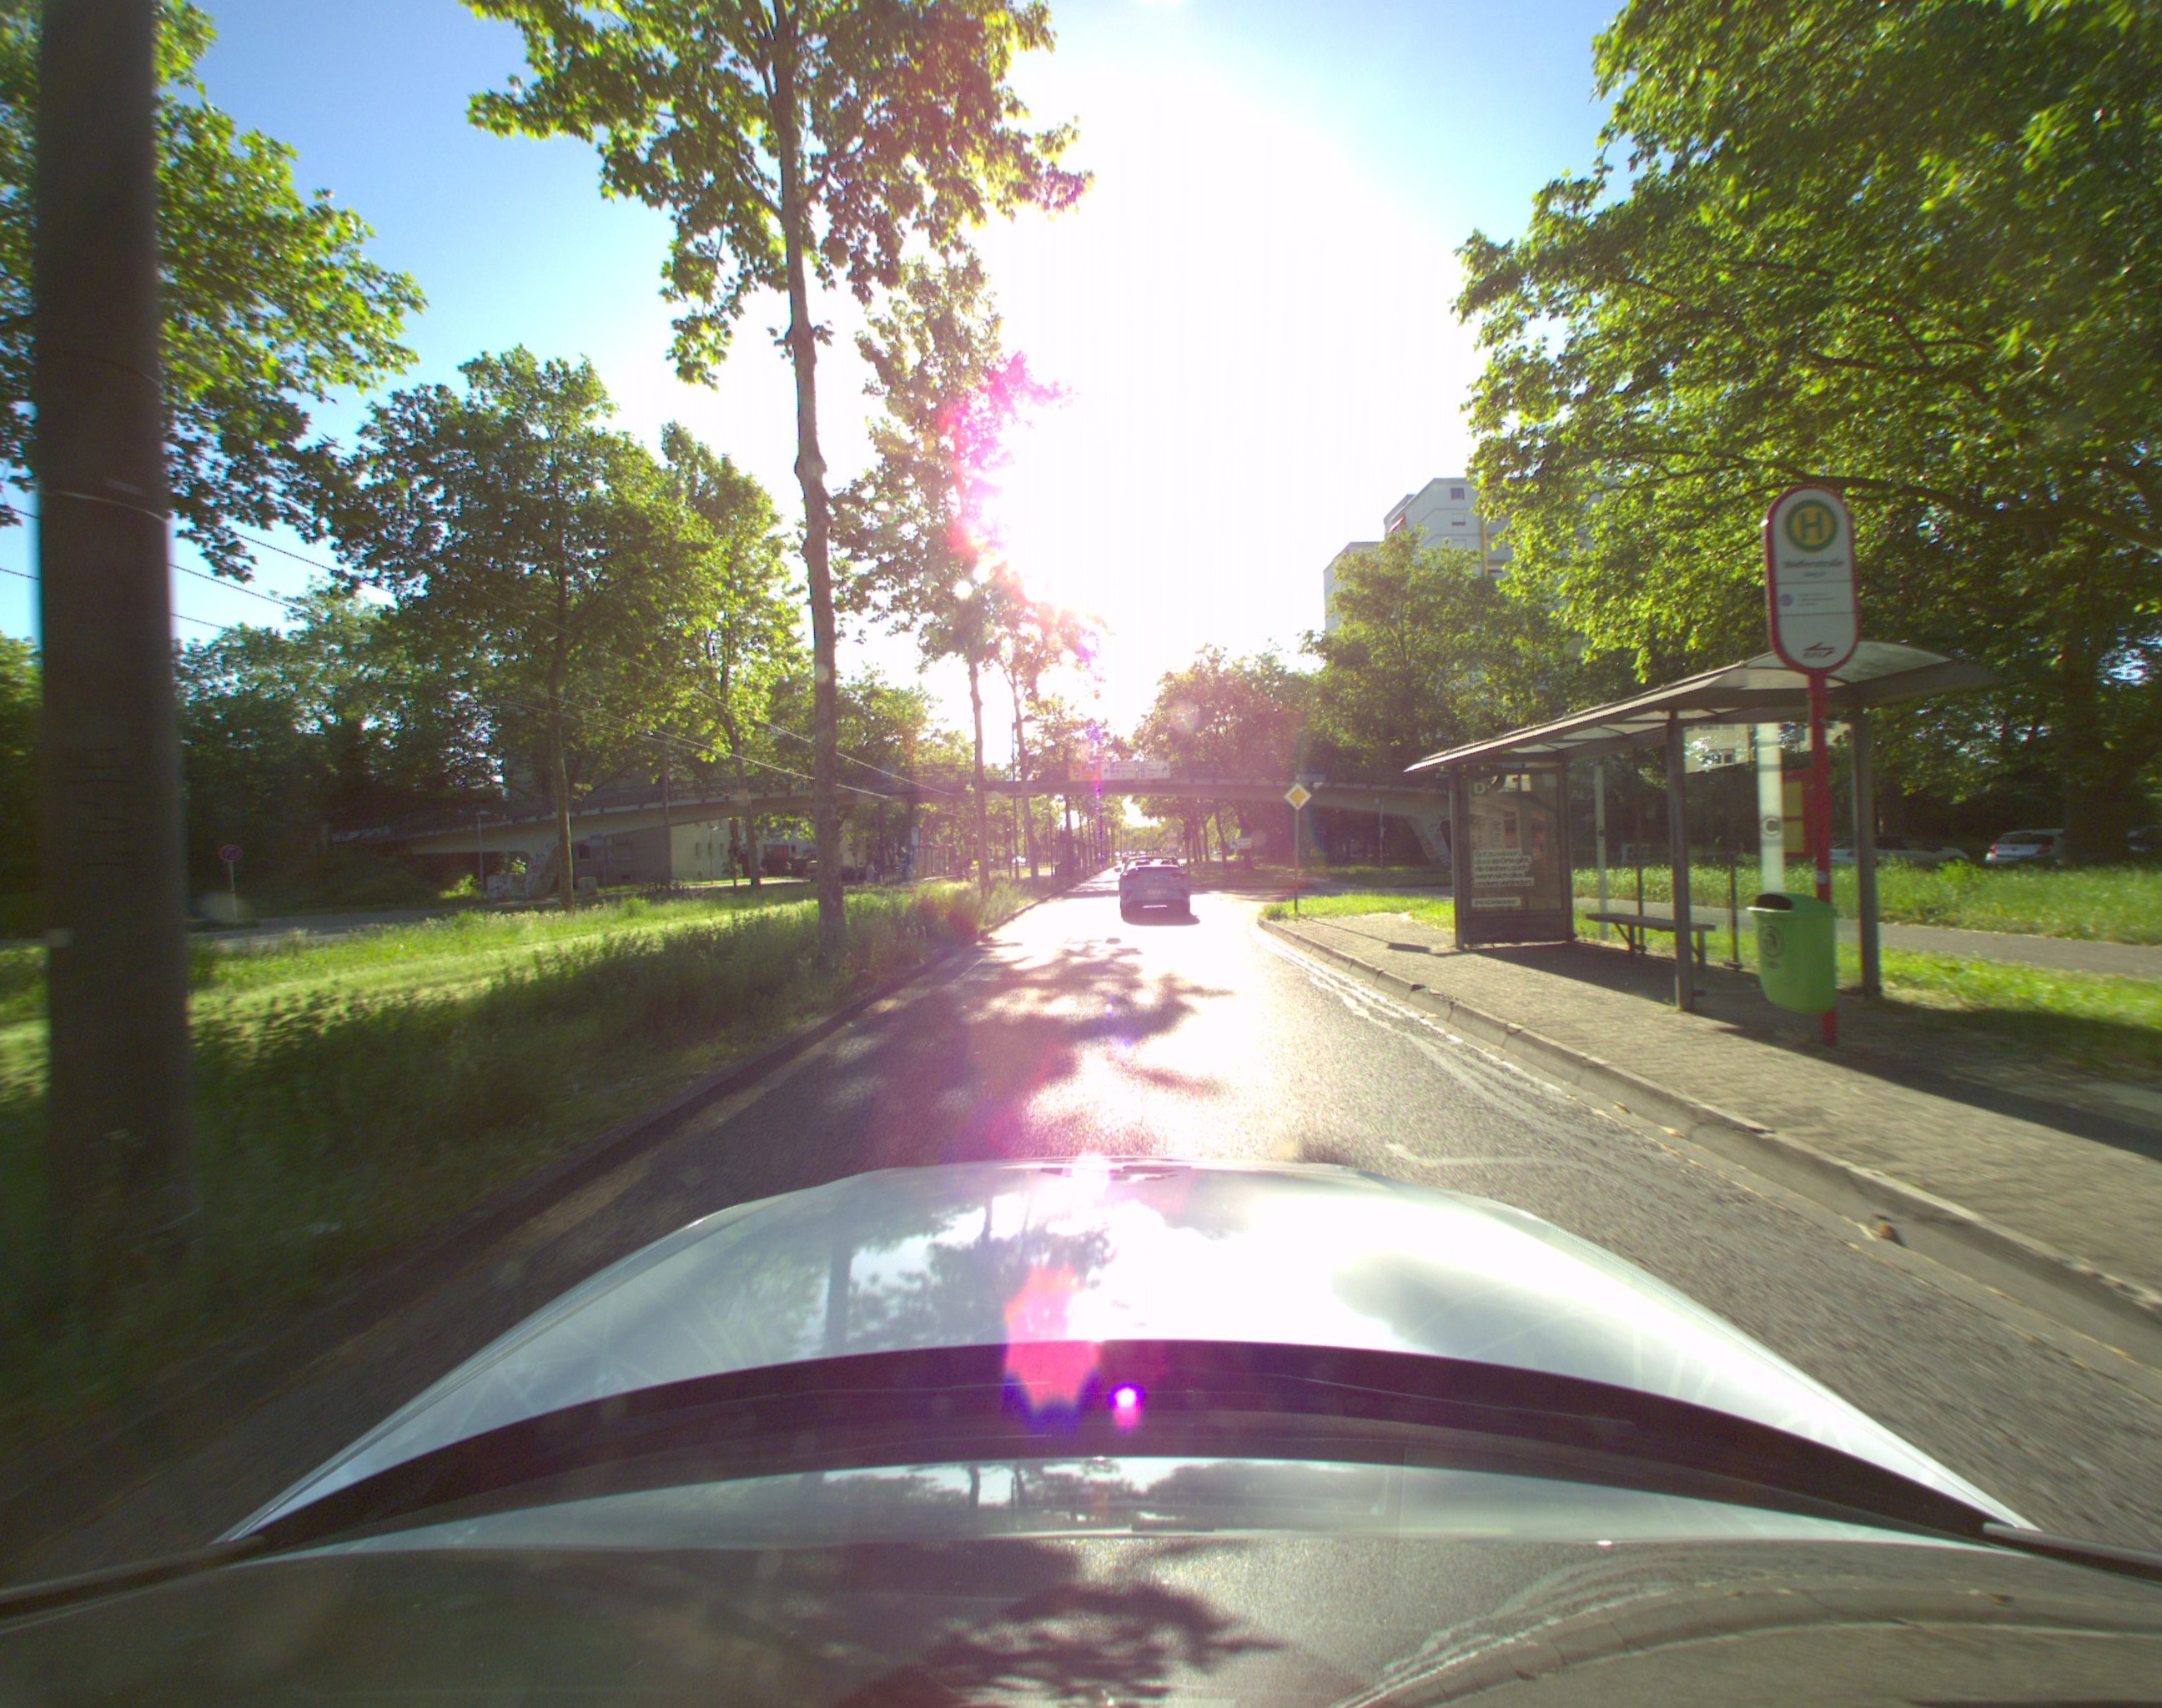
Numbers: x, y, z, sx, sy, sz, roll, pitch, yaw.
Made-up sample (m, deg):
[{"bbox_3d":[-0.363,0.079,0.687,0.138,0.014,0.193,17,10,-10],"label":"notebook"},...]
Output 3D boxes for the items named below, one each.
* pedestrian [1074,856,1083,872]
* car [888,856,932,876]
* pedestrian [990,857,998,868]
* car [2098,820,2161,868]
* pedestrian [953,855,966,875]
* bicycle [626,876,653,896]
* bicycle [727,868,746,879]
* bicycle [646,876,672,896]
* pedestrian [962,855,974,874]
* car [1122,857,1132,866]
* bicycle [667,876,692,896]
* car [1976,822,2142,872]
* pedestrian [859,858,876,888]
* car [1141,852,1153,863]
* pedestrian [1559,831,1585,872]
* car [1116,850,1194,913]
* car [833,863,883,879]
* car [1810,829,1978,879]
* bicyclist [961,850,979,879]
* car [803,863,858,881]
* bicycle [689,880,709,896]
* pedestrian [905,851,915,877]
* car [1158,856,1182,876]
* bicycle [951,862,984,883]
[{"bbox_3d":[-0.199,0.756,64.038,0.732,1.252,0.587,0,-1,-3],"label":"pedestrian"},{"bbox_3d":[-19.395,1.339,92.332,4.519,2.063,1.879,0,1,-36],"label":"car"},{"bbox_3d":[-9.861,0.963,92.710,0.691,1.127,0.663,-5,-1,4],"label":"pedestrian"},{"bbox_3d":[35.920,-0.371,26.630,3.573,1.495,1.621,-1,2,-5],"label":"car"},{"bbox_3d":[-10.365,0.939,69.373,0.706,1.634,0.736,-3,-1,41],"label":"pedestrian"},{"bbox_3d":[-23.790,1.736,43.899,0.432,1.009,1.688,-1,0,3],"label":"bicycle"},{"bbox_3d":[-32.917,1.879,77.894,0.693,0.928,2.595,0,1,0],"label":"bicycle"},{"bbox_3d":[-23.321,1.744,45.016,0.432,1.009,1.688,-1,0,3],"label":"bicycle"},{"bbox_3d":[-9.468,0.897,68.345,0.675,1.514,0.648,-4,-1,28],"label":"pedestrian"},{"bbox_3d":[8.356,1.342,148.730,1.703,1.603,3.352,-1,-1,2],"label":"car"},{"bbox_3d":[-21.917,1.726,44.478,0.432,1.009,1.688,-1,0,3],"label":"bicycle"},{"bbox_3d":[31.672,-0.264,26.414,3.971,1.495,1.664,-1,2,-9],"label":"car"},{"bbox_3d":[-12.284,1.084,46.852,0.723,1.674,1.048,0,-1,-1],"label":"pedestrian"},{"bbox_3d":[9.129,0.519,112.935,1.632,1.494,3.506,-1,0,2],"label":"car"},{"bbox_3d":[21.687,-0.105,35.966,0.657,1.777,0.738,-2,1,-6],"label":"pedestrian"},{"bbox_3d":[1.884,0.664,21.791,1.769,1.483,4.101,-1,0,1],"label":"car"},{"bbox_3d":[-20.809,1.572,75.977,4.218,1.428,1.682,0,1,-36],"label":"car"},{"bbox_3d":[25.947,-0.023,26.081,3.717,1.495,1.709,-1,2,-1],"label":"car"},{"bbox_3d":[-6.391,0.598,46.936,0.951,1.632,0.814,0,0,-3],"label":"bicyclist"},{"bbox_3d":[-21.348,1.510,69.403,4.218,1.428,1.682,0,1,-36],"label":"car"},{"bbox_3d":[-20.554,1.826,43.807,0.432,0.779,1.175,-1,0,3],"label":"bicycle"},{"bbox_3d":[-11.875,0.691,56.413,0.506,1.770,0.478,0,-1,-38],"label":"pedestrian"},{"bbox_3d":[8.328,1.104,76.387,1.973,1.792,4.618,-1,-1,3],"label":"car"},{"bbox_3d":[-6.537,1.059,46.925,1.827,1.147,0.814,0,0,-3],"label":"bicycle"}]
